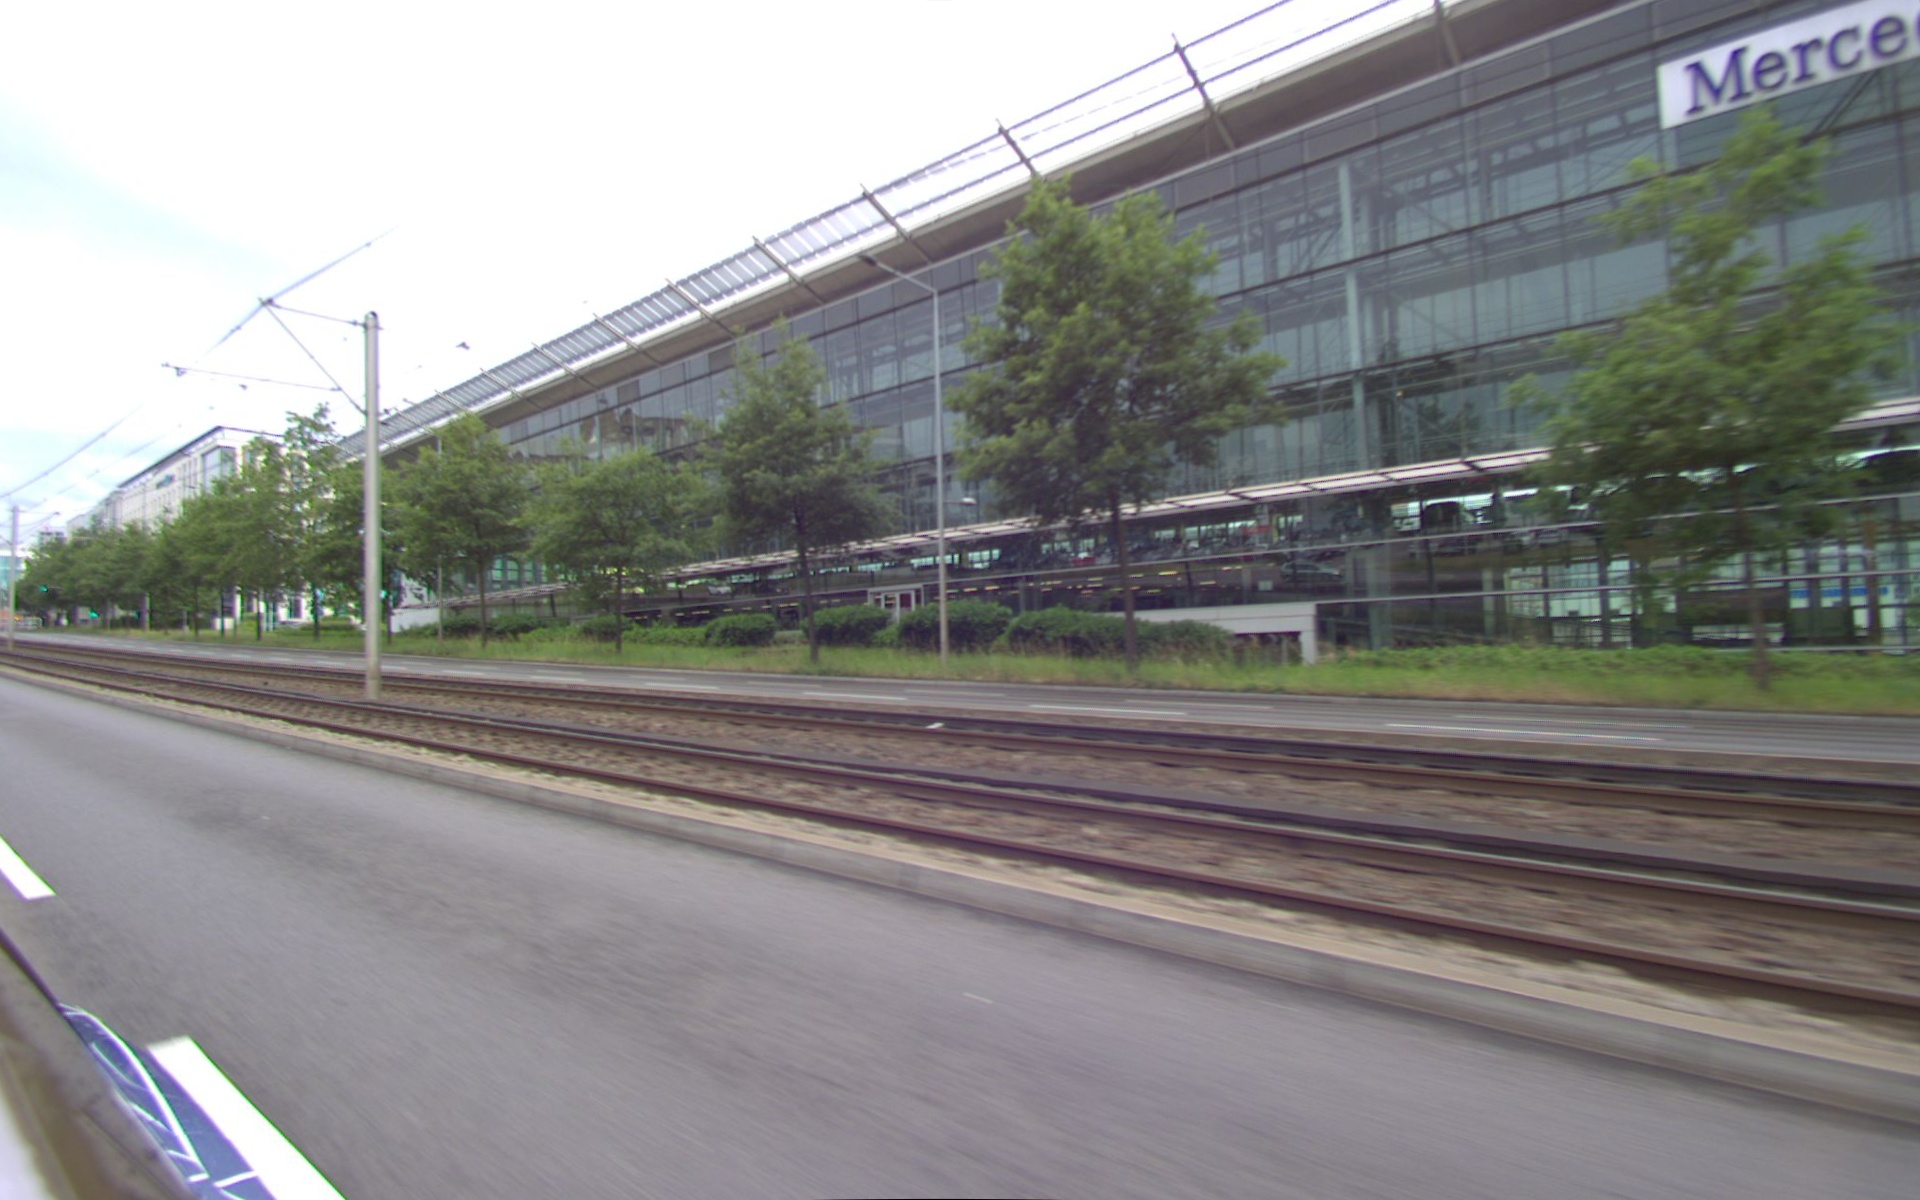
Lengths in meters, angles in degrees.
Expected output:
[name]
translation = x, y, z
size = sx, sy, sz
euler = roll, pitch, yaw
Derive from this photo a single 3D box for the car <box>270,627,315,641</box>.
[car]
translation = -74.316, 3.758, 112.682
size = 3.931, 1.401, 1.809
euler = -1, 0, -23
